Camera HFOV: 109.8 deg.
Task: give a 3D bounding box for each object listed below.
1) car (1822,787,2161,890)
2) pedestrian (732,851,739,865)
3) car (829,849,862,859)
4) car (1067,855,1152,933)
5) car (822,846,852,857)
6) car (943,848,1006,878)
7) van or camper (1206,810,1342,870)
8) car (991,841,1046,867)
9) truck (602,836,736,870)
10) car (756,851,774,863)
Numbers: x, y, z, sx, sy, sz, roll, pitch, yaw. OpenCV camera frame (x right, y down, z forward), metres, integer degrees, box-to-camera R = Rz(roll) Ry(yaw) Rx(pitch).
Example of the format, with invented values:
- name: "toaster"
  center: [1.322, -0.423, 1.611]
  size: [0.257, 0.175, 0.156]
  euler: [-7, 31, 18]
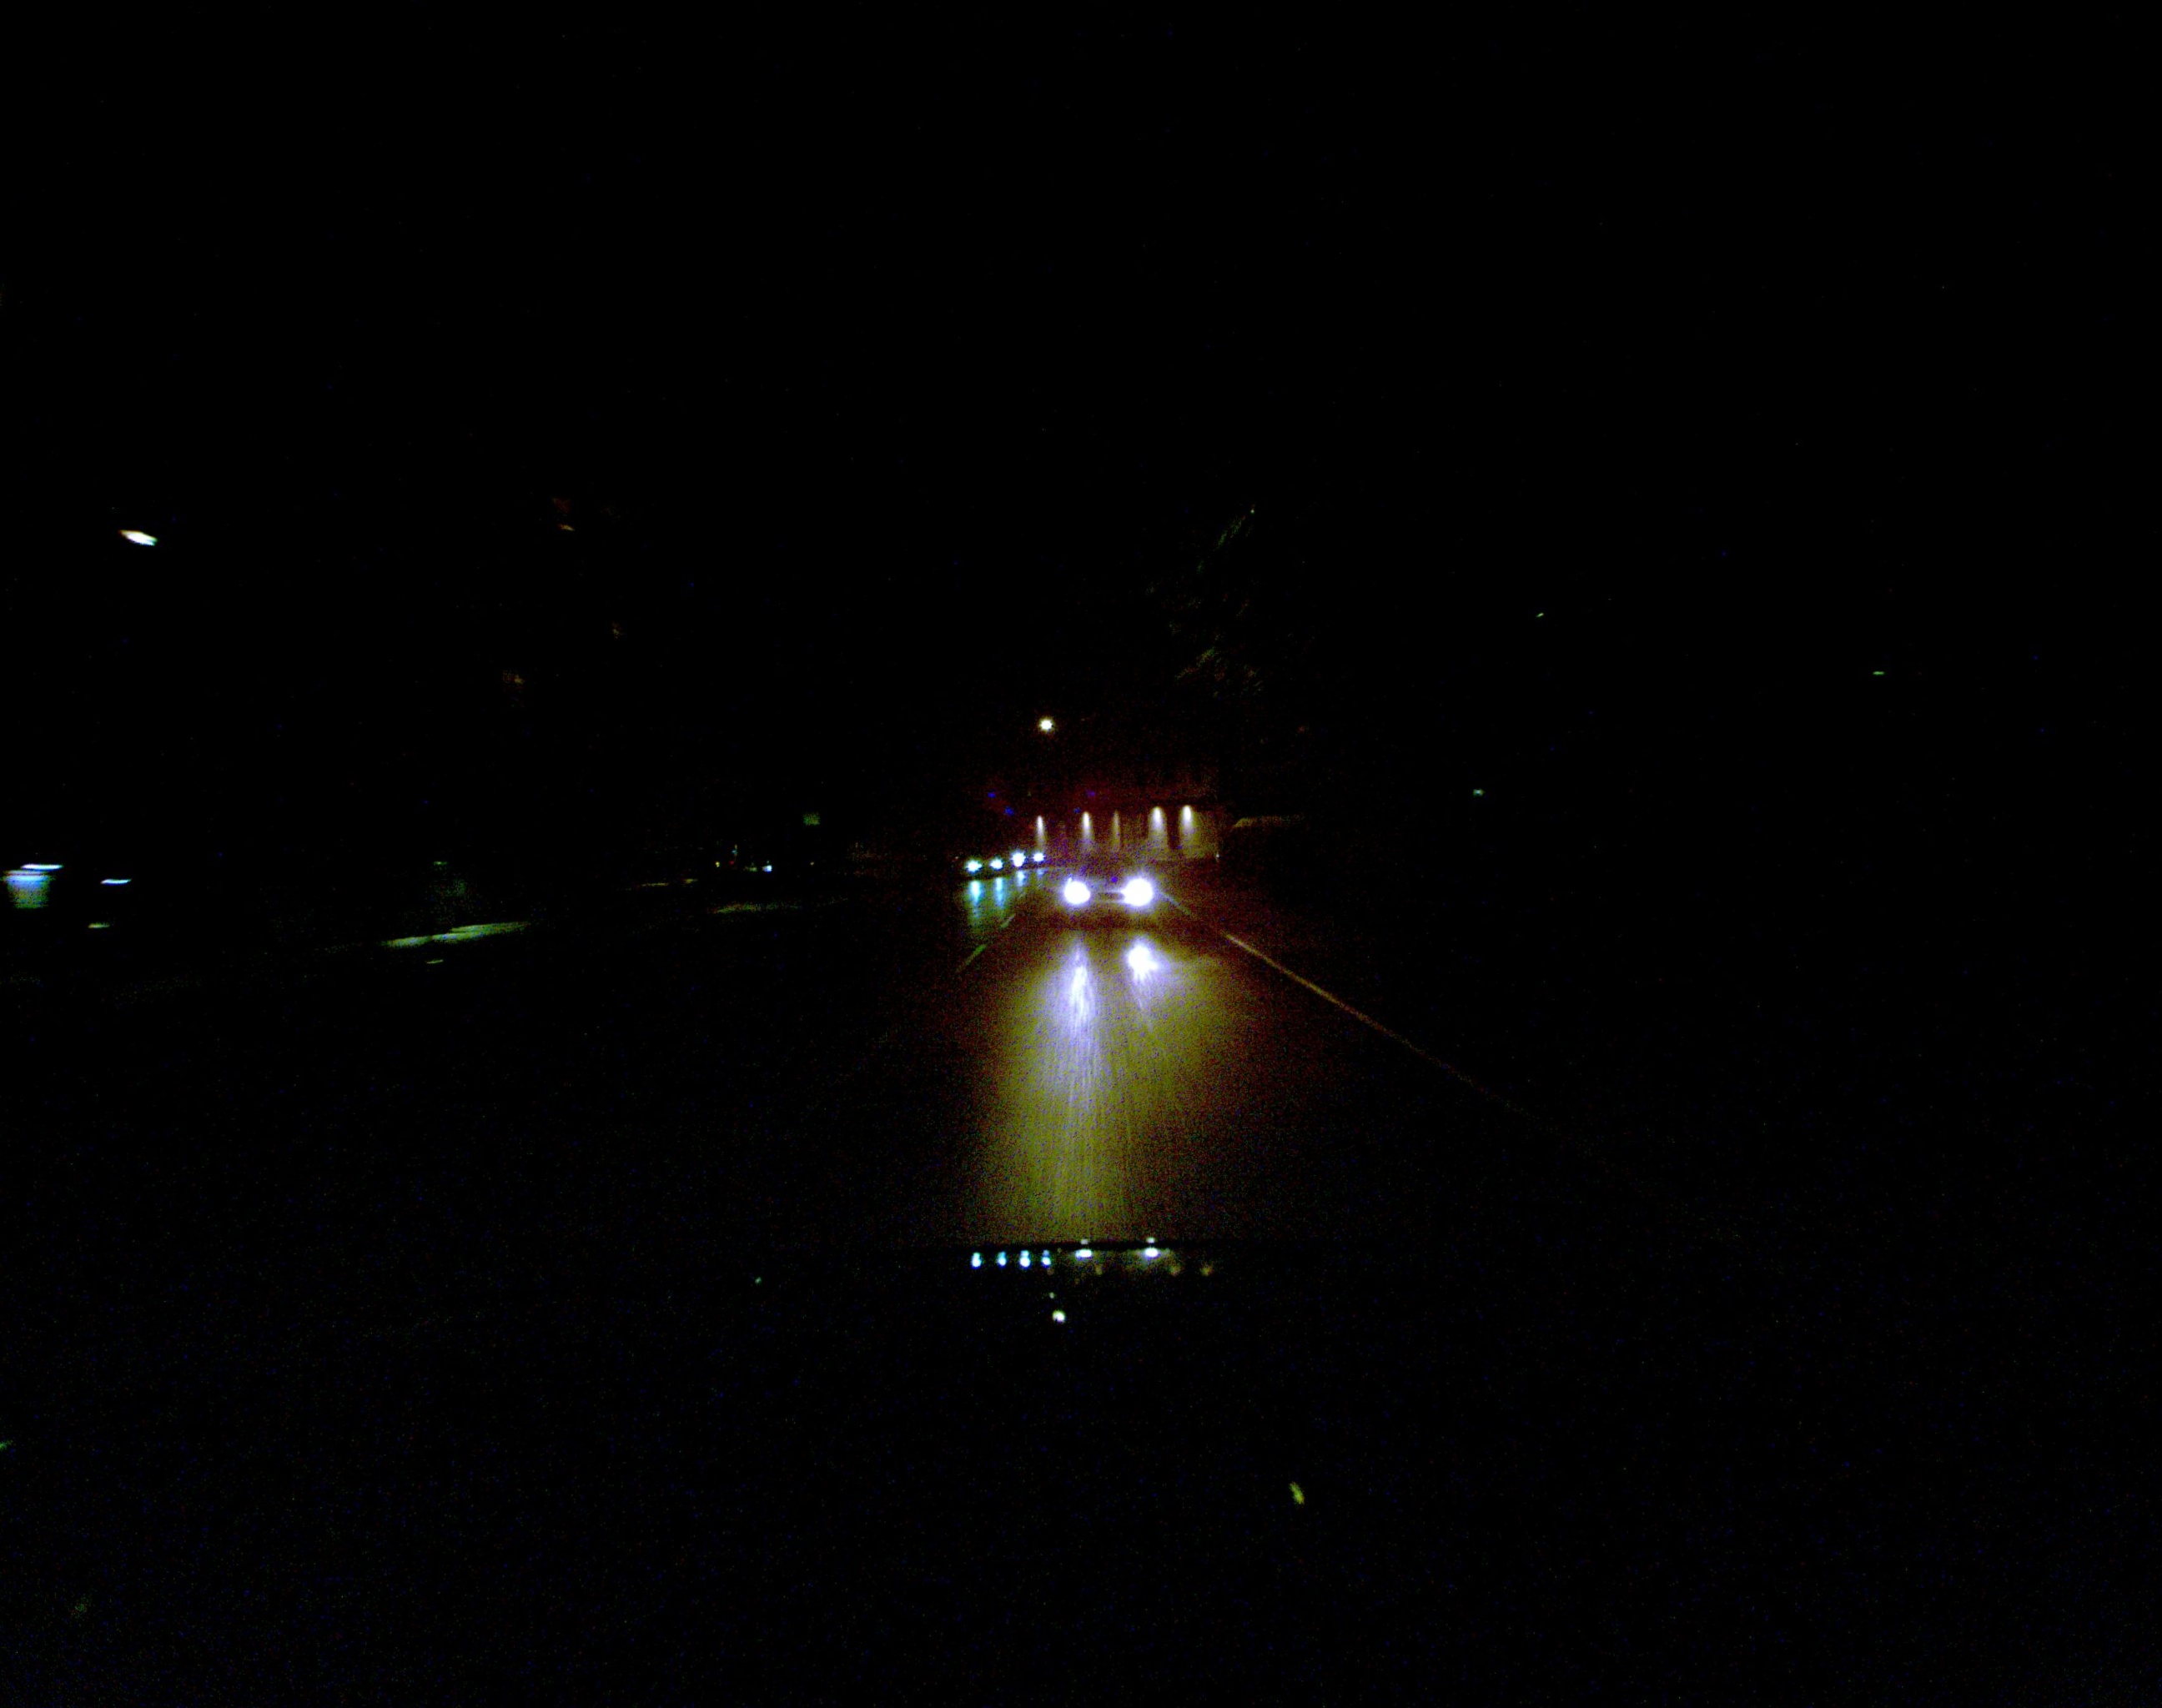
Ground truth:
- name: "car"
  center: [20.083, -0.344, 16.912]
  size: [2.003, 1.944, 4.793]
  euler: [-4, 2, -32]
- name: "pedestrian"
  center: [-46.990, 0.561, 103.395]
  size: [0.624, 1.801, 0.757]
  euler: [-5, 3, -32]
- name: "car"
  center: [-36.607, 0.012, 118.124]
  size: [4.718, 1.416, 1.895]
  euler: [-2, 2, 26]
- name: "car"
  center: [0.684, 0.783, 16.625]
  size: [1.634, 1.430, 3.841]
  euler: [-1, 1, 4]
- name: "car"
  center: [-43.404, -0.499, 135.323]
  size: [4.682, 1.620, 1.998]
  euler: [-4, 3, -34]
- name: "car"
  center: [-6.056, 0.477, 42.859]
  size: [1.732, 1.422, 4.487]
  euler: [-6, 3, -32]
- name: "van or camper"
  center: [8.695, -0.613, 34.855]
  size: [2.169, 2.521, 6.210]
  euler: [-2, 1, -33]
- name: "car"
  center: [-3.971, -0.010, 47.679]
  size: [1.732, 1.455, 3.990]
  euler: [-4, 3, -31]
- name: "truck"
  center: [-60.133, -0.208, 111.365]
  size: [16.857, 3.962, 3.123]
  euler: [-4, 3, -32]
- name: "car"
  center: [-48.876, 0.481, 117.348]
  size: [2.003, 1.626, 3.991]
  euler: [-4, 2, -29]
